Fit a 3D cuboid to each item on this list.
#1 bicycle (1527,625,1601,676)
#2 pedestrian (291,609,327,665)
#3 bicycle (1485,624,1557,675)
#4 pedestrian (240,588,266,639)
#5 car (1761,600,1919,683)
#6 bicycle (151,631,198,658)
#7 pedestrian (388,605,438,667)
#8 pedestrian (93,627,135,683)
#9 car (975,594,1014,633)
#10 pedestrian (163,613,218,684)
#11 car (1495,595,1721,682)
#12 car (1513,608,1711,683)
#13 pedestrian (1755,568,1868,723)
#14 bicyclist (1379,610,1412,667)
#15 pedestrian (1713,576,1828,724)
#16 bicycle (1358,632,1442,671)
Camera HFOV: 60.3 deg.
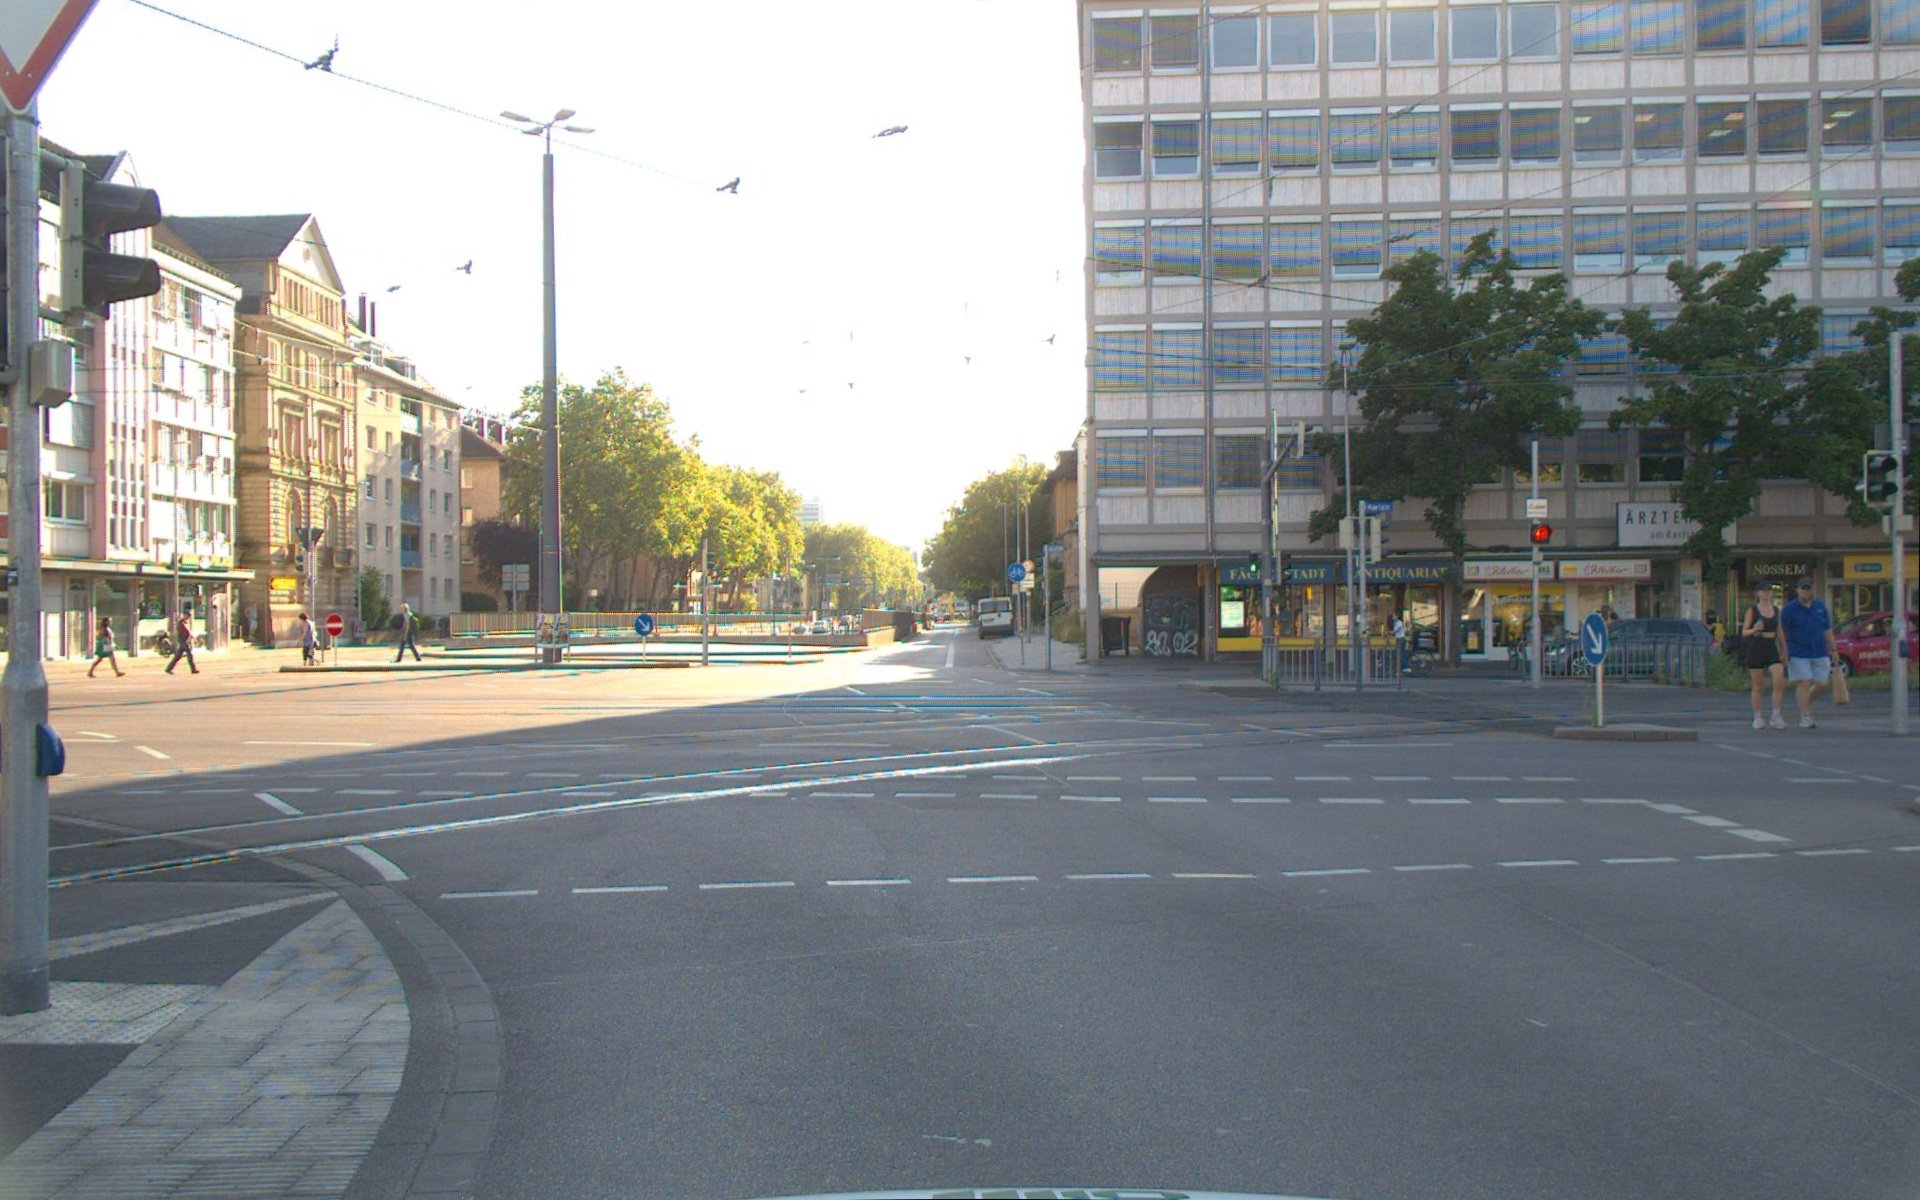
[{"bbox_3d":[16.033,1.330,43.955,0.735,1.163,2.638,1,2,-6],"label":"bicycle"},{"bbox_3d":[-18.020,1.031,45.797,0.844,1.491,0.679,2,-6,-30],"label":"pedestrian"},{"bbox_3d":[14.861,1.298,43.896,0.735,1.163,2.638,1,2,-6],"label":"bicycle"},{"bbox_3d":[-34.030,0.643,79.655,0.910,2.440,0.958,1,-1,-11],"label":"pedestrian"},{"bbox_3d":[19.141,0.864,34.581,3.903,1.646,1.845,1,-1,4],"label":"car"},{"bbox_3d":[-32.069,1.821,67.565,0.441,1.089,2.093,1,-1,16],"label":"bicycle"},{"bbox_3d":[-15.955,1.037,48.229,1.171,1.761,0.855,1,-1,-5],"label":"pedestrian"},{"bbox_3d":[-22.651,1.465,44.298,0.691,1.479,0.855,1,-1,-5],"label":"pedestrian"},{"bbox_3d":[2.052,0.797,98.345,2.238,2.210,4.834,1,-1,1],"label":"car"},{"bbox_3d":[-21.708,1.354,46.668,1.171,1.916,0.856,1,2,-5],"label":"pedestrian"},{"bbox_3d":[13.096,0.777,33.627,3.903,1.646,1.845,1,-1,4],"label":"car"},{"bbox_3d":[15.383,1.059,39.189,3.982,1.646,1.845,1,-1,4],"label":"car"},{"bbox_3d":[10.348,0.547,20.116,0.690,1.824,1.028,2,-1,-38],"label":"pedestrian"},{"bbox_3d":[11.256,0.980,42.774,0.665,1.449,0.671,1,-1,-1],"label":"bicyclist"},{"bbox_3d":[9.660,0.582,19.725,0.690,1.712,1.028,2,-1,-38],"label":"pedestrian"},{"bbox_3d":[11.373,1.339,42.767,1.983,0.957,0.671,1,-1,-2],"label":"bicycle"}]
